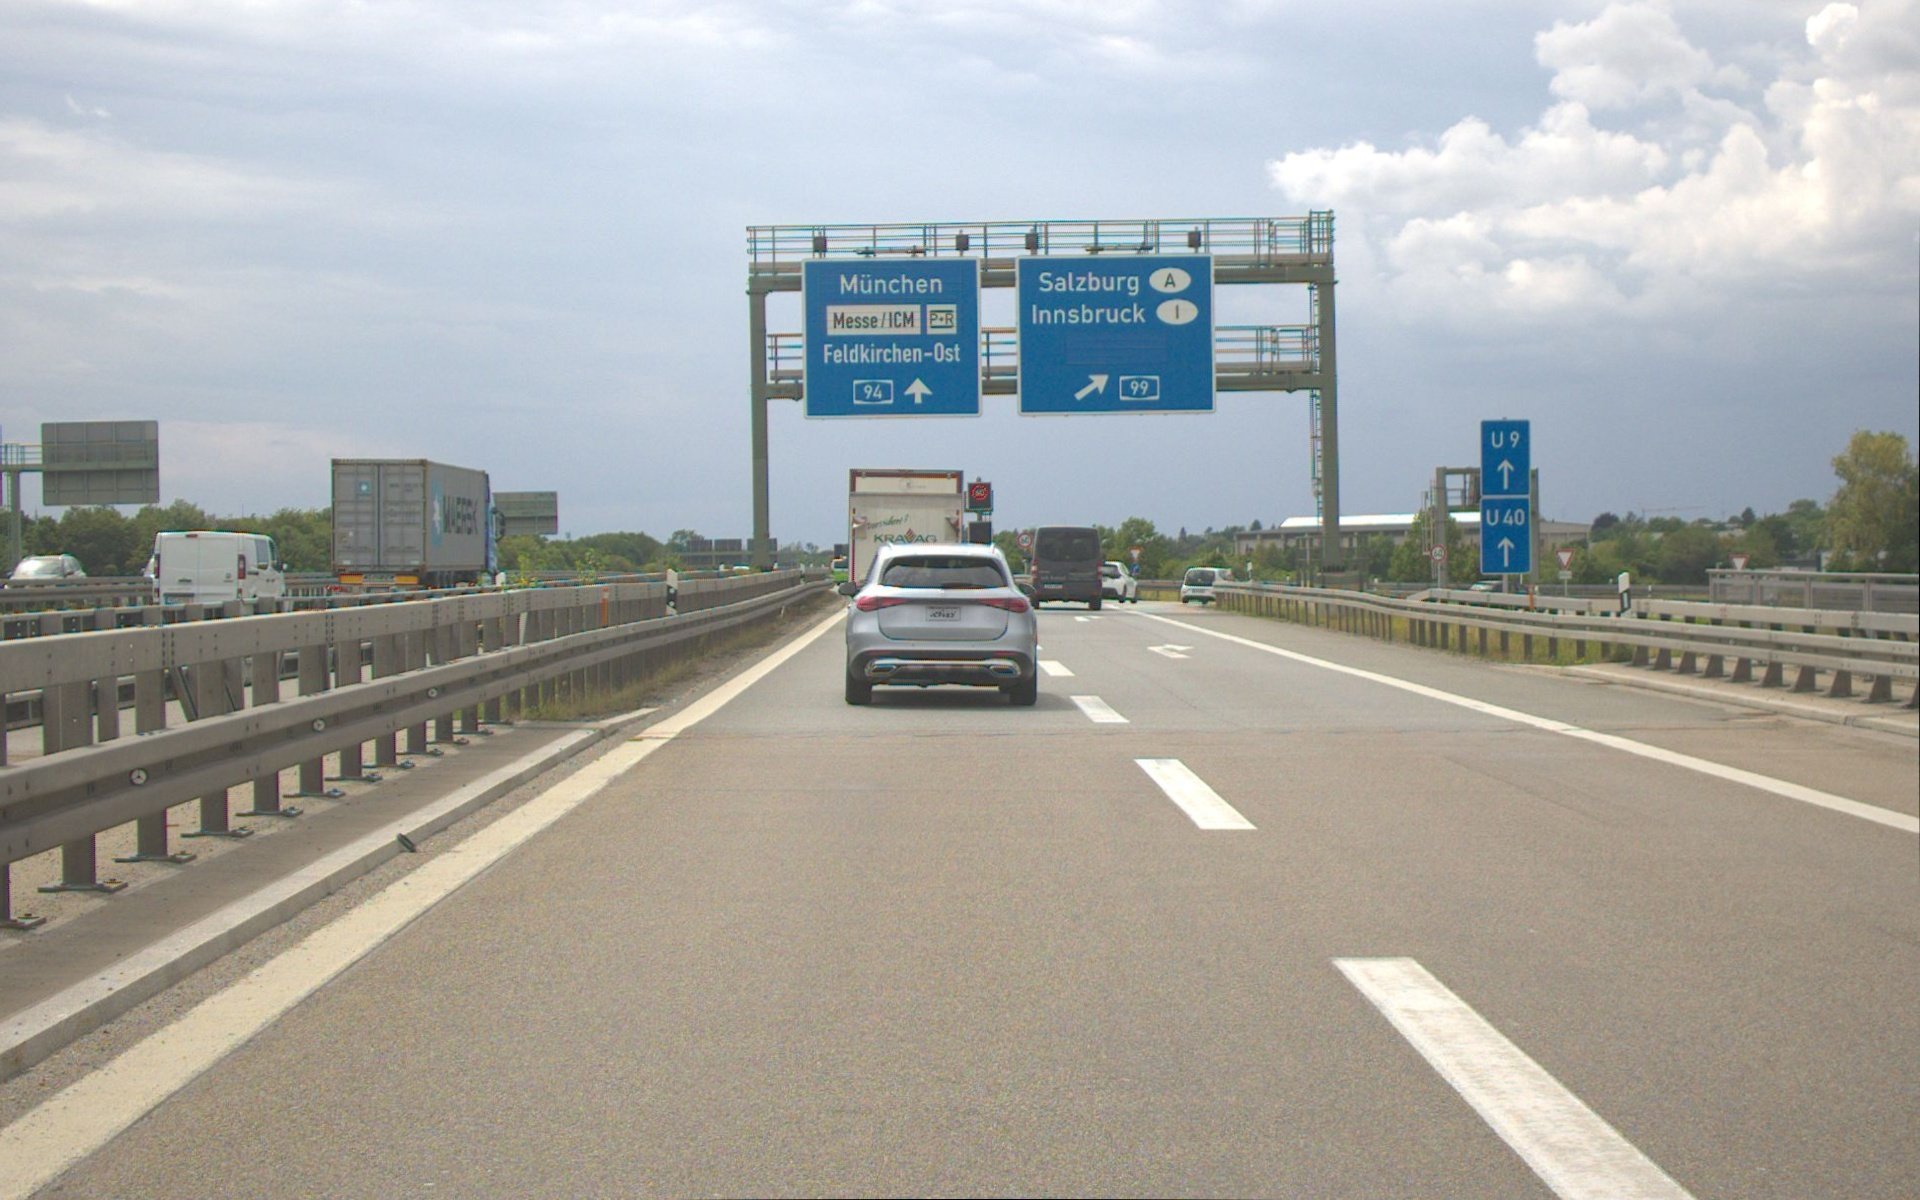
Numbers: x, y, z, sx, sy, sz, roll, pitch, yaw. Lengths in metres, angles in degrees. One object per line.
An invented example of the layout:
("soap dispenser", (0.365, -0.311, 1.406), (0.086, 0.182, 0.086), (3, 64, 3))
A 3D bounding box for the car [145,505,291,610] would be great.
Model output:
("car", (-14.783, -0.869, 68.692), (1.993, 2.007, 4.375), (1, 1, 0))

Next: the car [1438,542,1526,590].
("car", (24.524, -1.583, 161.514), (3.988, 2.007, 1.783), (3, 1, -40))

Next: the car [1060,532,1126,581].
("car", (4.852, -1.597, 125.157), (1.994, 1.703, 3.999), (1, 1, 8))

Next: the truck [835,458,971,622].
("truck", (-1.136, -1.166, 70.320), (2.569, 3.115, 8.634), (1, 0, -1))

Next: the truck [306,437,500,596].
("truck", (-15.251, -2.335, 95.573), (3.183, 4.005, 16.077), (1, 1, -2))

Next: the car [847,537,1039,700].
("car", (-0.227, 0.138, 34.924), (1.819, 1.509, 4.001), (1, 1, -2))

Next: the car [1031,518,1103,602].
("car", (2.984, -1.152, 96.634), (1.906, 2.254, 4.649), (1, 1, 1))

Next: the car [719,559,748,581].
("car", (-16.897, -2.258, 256.415), (1.828, 1.557, 4.000), (0, 1, 1))

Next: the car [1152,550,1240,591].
("car", (10.242, -1.294, 148.940), (1.998, 1.703, 3.992), (2, 2, 35))
